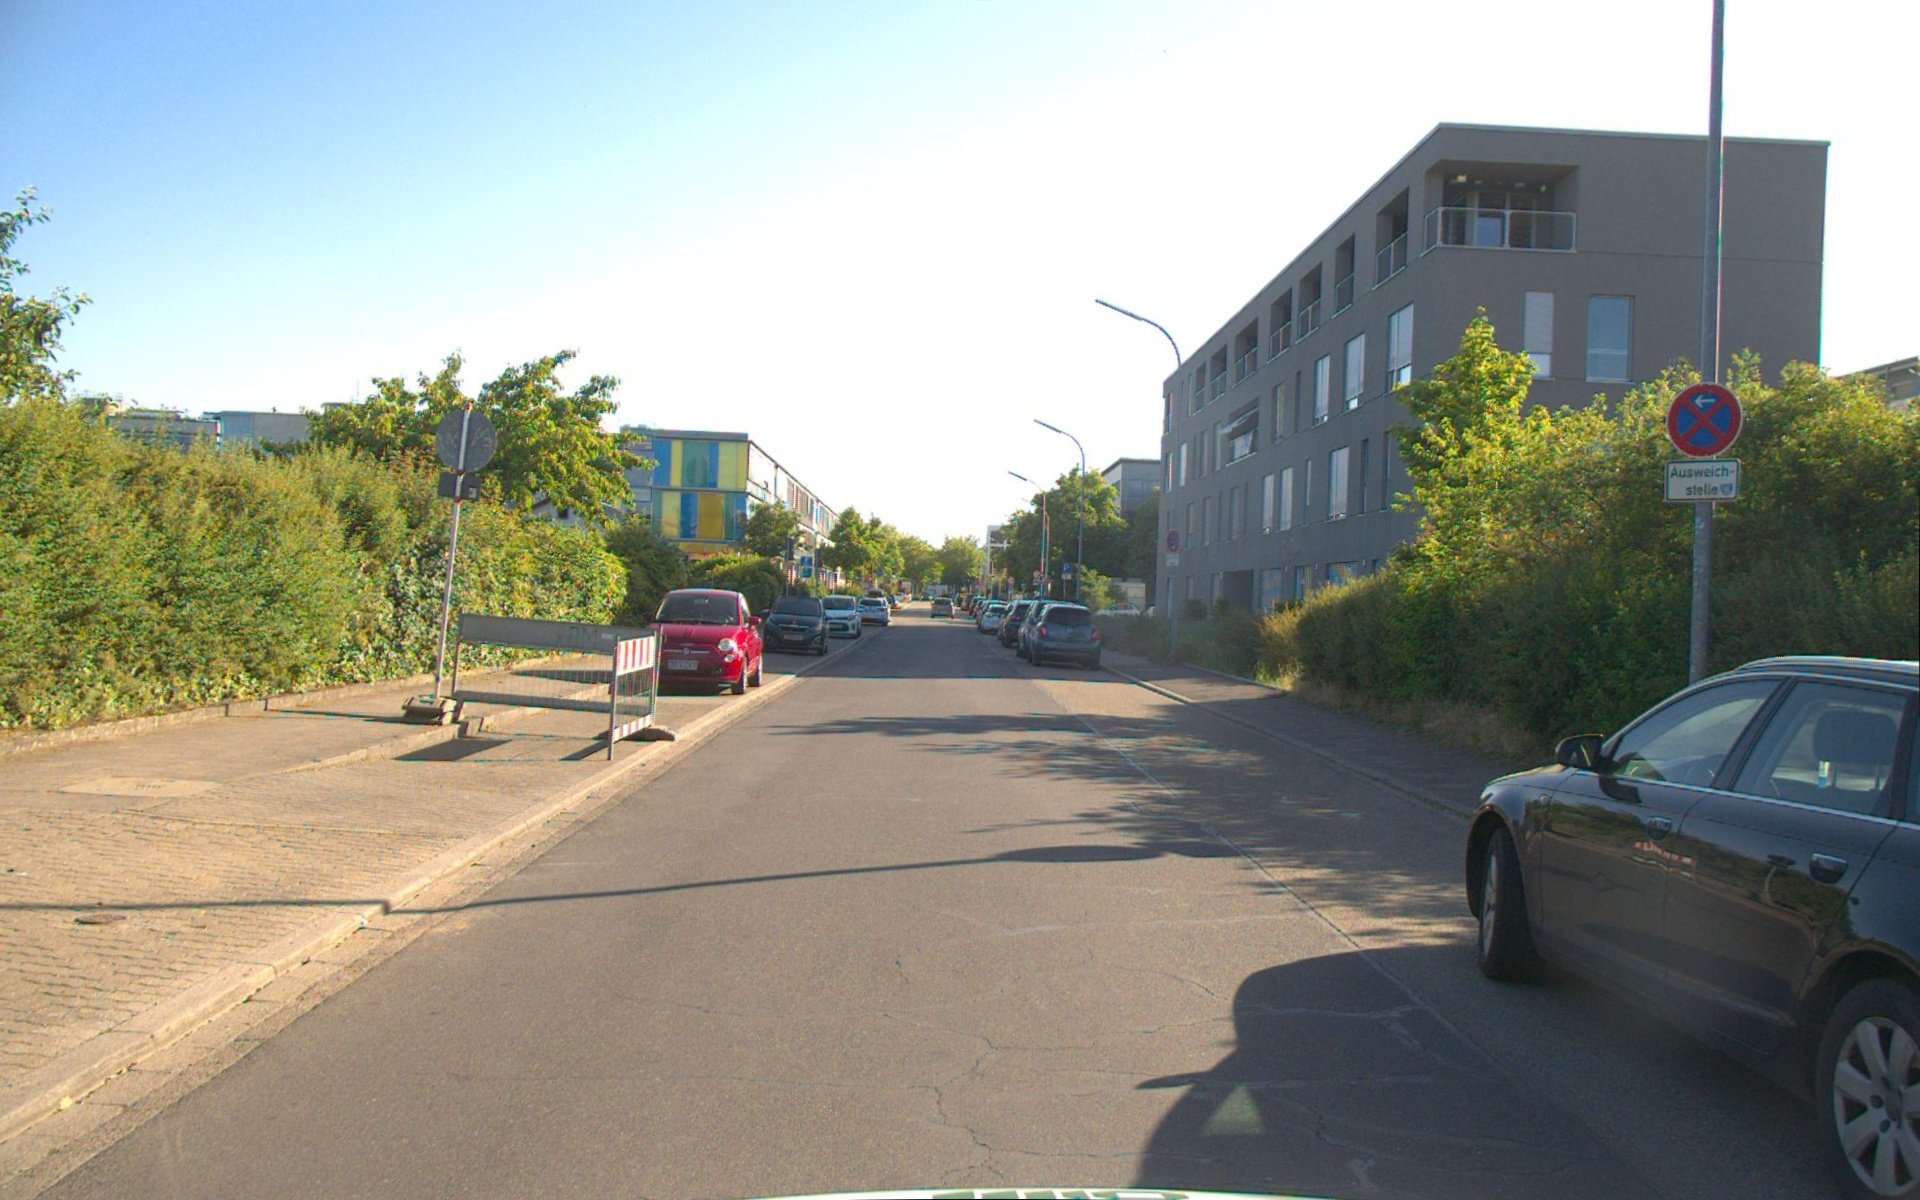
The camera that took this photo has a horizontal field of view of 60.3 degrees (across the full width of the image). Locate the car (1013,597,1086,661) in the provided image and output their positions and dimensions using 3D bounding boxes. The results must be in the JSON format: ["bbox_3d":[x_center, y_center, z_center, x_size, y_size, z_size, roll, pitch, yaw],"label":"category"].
[{"bbox_3d":[2.494,0.784,46.934,1.643,1.636,4.177,4,0,-2],"label":"car"}]

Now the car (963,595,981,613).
[{"bbox_3d":[1.080,0.375,151.552,1.416,1.576,3.613,3,0,-2],"label":"car"}]

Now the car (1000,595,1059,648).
[{"bbox_3d":[2.348,0.721,56.998,1.706,1.653,4.178,3,0,-1],"label":"car"}]

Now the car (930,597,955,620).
[{"bbox_3d":[-1.316,0.616,120.879,1.655,1.576,3.613,3,0,-2],"label":"car"}]

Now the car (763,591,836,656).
[{"bbox_3d":[-4.164,0.587,43.327,1.528,1.520,3.569,4,0,-1],"label":"car"}]

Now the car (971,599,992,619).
[{"bbox_3d":[1.746,0.716,135.561,1.416,1.576,3.613,3,0,-2],"label":"car"}]

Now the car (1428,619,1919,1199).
[{"bbox_3d":[3.214,0.875,5.582,1.719,1.438,4.654,4,0,-2],"label":"car"}]

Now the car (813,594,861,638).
[{"bbox_3d":[-4.460,0.551,60.366,1.528,1.521,3.757,1,0,-1],"label":"car"}]

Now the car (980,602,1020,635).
[{"bbox_3d":[1.916,0.867,80.928,1.707,1.453,4.133,3,0,-1],"label":"car"}]

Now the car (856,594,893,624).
[{"bbox_3d":[-4.618,0.477,89.638,1.817,1.453,4.133,3,0,-1],"label":"car"}]

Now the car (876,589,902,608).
[{"bbox_3d":[-6.373,-0.097,149.206,1.816,1.590,4.136,3,0,4],"label":"car"}]

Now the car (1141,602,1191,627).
[{"bbox_3d":[13.931,0.978,111.859,3.150,1.486,1.450,3,0,2],"label":"car"}]

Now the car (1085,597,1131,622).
[{"bbox_3d":[10.722,0.686,120.017,3.150,1.576,1.450,3,0,2],"label":"car"}]

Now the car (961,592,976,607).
[{"bbox_3d":[0.893,-0.043,176.958,1.416,1.576,3.613,3,0,-2],"label":"car"}]

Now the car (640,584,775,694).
[{"bbox_3d":[-3.777,0.548,25.218,1.528,1.521,3.569,1,0,-1],"label":"car"}]

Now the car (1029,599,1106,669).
[{"bbox_3d":[2.644,0.818,41.398,1.590,1.553,3.901,4,0,0],"label":"car"}]
